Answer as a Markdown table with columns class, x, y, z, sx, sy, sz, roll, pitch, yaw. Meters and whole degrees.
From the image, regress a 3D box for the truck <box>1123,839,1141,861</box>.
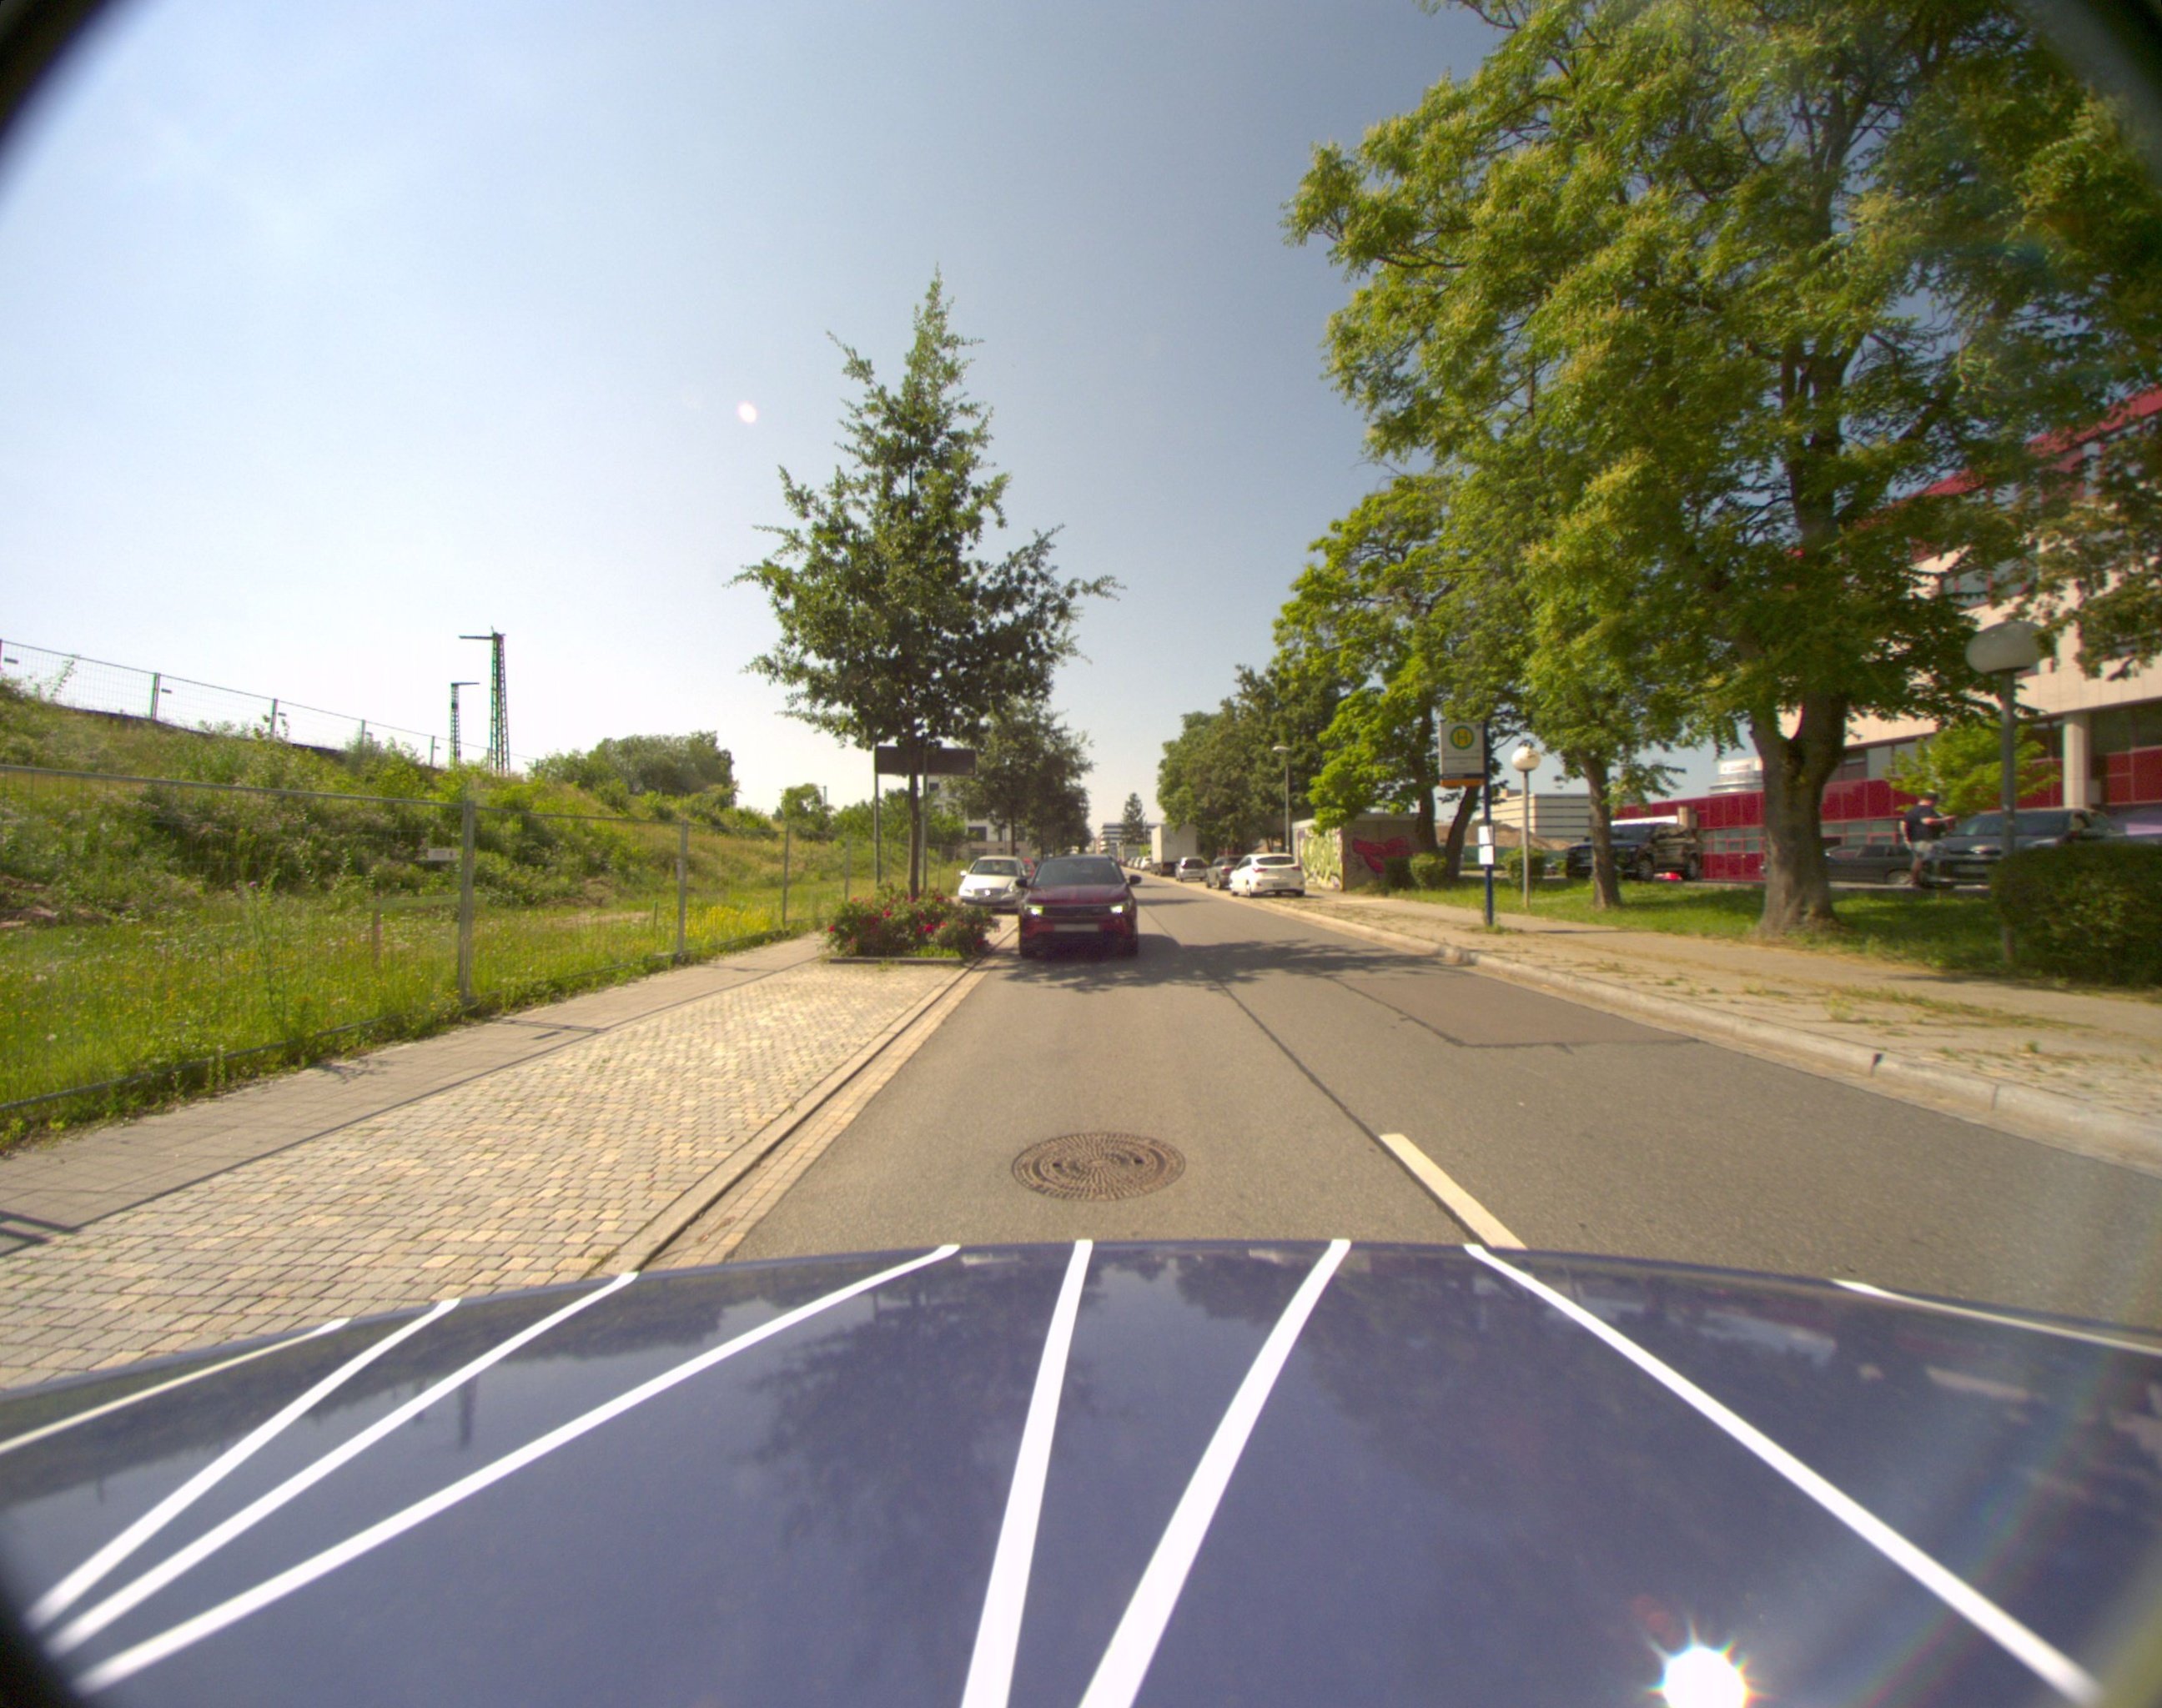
| class | x | y | z | sx | sy | sz | roll | pitch | yaw |
| --- | --- | --- | --- | --- | --- | --- | --- | --- | --- |
| truck | 8.176 | -0.577 | 121.515 | 2.701 | 3.300 | 7.344 | -1 | 0 | 4 |

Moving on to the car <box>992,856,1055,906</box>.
| class | x | y | z | sx | sy | sz | roll | pitch | yaw |
| --- | --- | --- | --- | --- | --- | --- | --- | --- | --- |
| car | -1.948 | 0.911 | 26.960 | 1.847 | 1.606 | 4.000 | 1 | 0 | 1 |

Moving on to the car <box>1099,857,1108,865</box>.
| class | x | y | z | sx | sy | sz | roll | pitch | yaw |
| --- | --- | --- | --- | --- | --- | --- | --- | --- | --- |
| car | 4.949 | 1.615 | 168.329 | 1.764 | 1.783 | 4.001 | -1 | 0 | 3 |

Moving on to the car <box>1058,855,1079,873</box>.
| class | x | y | z | sx | sy | sz | roll | pitch | yaw |
| --- | --- | --- | --- | --- | --- | --- | --- | --- | --- |
| car | -1.118 | 0.909 | 71.208 | 1.847 | 1.606 | 4.000 | 1 | 0 | 1 |

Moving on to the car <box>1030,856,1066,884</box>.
| class | x | y | z | sx | sy | sz | roll | pitch | yaw |
| --- | --- | --- | --- | --- | --- | --- | --- | --- | --- |
| car | -1.871 | 0.894 | 44.363 | 1.869 | 1.533 | 4.000 | -1 | 0 | 0 |

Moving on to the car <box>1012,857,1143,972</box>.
| class | x | y | z | sx | sy | sz | roll | pitch | yaw |
| --- | --- | --- | --- | --- | --- | --- | --- | --- | --- |
| car | -0.063 | 0.872 | 12.972 | 1.821 | 1.594 | 4.307 | -1 | 0 | 0 |

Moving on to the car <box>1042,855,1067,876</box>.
| class | x | y | z | sx | sy | sz | roll | pitch | yaw |
| --- | --- | --- | --- | --- | --- | --- | --- | --- | --- |
| car | -2.126 | 0.925 | 62.266 | 1.847 | 1.606 | 4.000 | 1 | 0 | 1 |

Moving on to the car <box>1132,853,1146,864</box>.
| class | x | y | z | sx | sy | sz | roll | pitch | yaw |
| --- | --- | --- | --- | --- | --- | --- | --- | --- | --- |
| car | 8.046 | 0.646 | 105.756 | 1.814 | 1.506 | 4.001 | -2 | 0 | 2 |

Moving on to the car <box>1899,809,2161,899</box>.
| class | x | y | z | sx | sy | sz | roll | pitch | yaw |
| --- | --- | --- | --- | --- | --- | --- | --- | --- | --- |
| car | 16.622 | -0.034 | 13.303 | 3.993 | 1.330 | 1.715 | -2 | 0 | -21 |

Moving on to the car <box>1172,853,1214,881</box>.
| class | x | y | z | sx | sy | sz | roll | pitch | yaw |
| --- | --- | --- | --- | --- | --- | --- | --- | --- | --- |
| car | 6.574 | 0.734 | 44.920 | 1.815 | 1.506 | 4.000 | -2 | 0 | 0 |

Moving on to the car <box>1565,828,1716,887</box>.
| class | x | y | z | sx | sy | sz | roll | pitch | yaw |
| --- | --- | --- | --- | --- | --- | --- | --- | --- | --- |
| car | 16.199 | 0.065 | 21.912 | 4.824 | 1.484 | 1.848 | -2 | 0 | -32 |

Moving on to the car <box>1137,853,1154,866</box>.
| class | x | y | z | sx | sy | sz | roll | pitch | yaw |
| --- | --- | --- | --- | --- | --- | --- | --- | --- | --- |
| car | 7.953 | 0.681 | 93.353 | 1.814 | 1.506 | 4.001 | -2 | 0 | 2 |

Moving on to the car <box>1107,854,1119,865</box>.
| class | x | y | z | sx | sy | sz | roll | pitch | yaw |
| --- | --- | --- | --- | --- | --- | --- | --- | --- | --- |
| car | 4.946 | 0.863 | 118.545 | 1.790 | 1.783 | 4.001 | -1 | 0 | 2 |

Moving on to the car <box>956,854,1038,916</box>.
| class | x | y | z | sx | sy | sz | roll | pitch | yaw |
| --- | --- | --- | --- | --- | --- | --- | --- | --- | --- |
| car | -2.391 | 0.861 | 22.609 | 1.847 | 1.606 | 4.370 | 2 | 0 | 1 |

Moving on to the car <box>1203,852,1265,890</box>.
| class | x | y | z | sx | sy | sz | roll | pitch | yaw |
| --- | --- | --- | --- | --- | --- | --- | --- | --- | --- |
| car | 6.601 | 0.704 | 33.154 | 1.815 | 1.506 | 4.000 | -2 | 0 | 0 |

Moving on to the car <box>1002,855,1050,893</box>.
| class | x | y | z | sx | sy | sz | roll | pitch | yaw |
| --- | --- | --- | --- | --- | --- | --- | --- | --- | --- |
| car | -2.430 | 0.870 | 34.442 | 1.847 | 1.606 | 4.000 | 1 | 0 | 1 |

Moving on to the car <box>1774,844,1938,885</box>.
| class | x | y | z | sx | sy | sz | roll | pitch | yaw |
| --- | --- | --- | --- | --- | --- | --- | --- | --- | --- |
| car | 28.934 | 0.397 | 28.569 | 4.228 | 1.443 | 1.726 | -1 | 0 | 43 |

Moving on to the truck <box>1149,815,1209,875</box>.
| class | x | y | z | sx | sy | sz | roll | pitch | yaw |
| --- | --- | --- | --- | --- | --- | --- | --- | --- | --- |
| truck | 7.277 | -0.601 | 57.756 | 3.353 | 4.119 | 9.278 | -2 | 0 | 1 |

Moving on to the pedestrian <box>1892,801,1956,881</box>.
| class | x | y | z | sx | sy | sz | roll | pitch | yaw |
| --- | --- | --- | --- | --- | --- | --- | --- | --- | --- |
| pedestrian | 16.595 | -0.249 | 14.979 | 0.563 | 1.518 | 0.758 | -1 | 0 | 22 |

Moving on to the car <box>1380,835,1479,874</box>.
| class | x | y | z | sx | sy | sz | roll | pitch | yaw |
| --- | --- | --- | --- | --- | --- | --- | --- | --- | --- |
| car | 17.127 | 0.011 | 37.313 | 4.724 | 1.793 | 1.996 | -1 | -1 | -30 |

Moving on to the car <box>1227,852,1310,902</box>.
| class | x | y | z | sx | sy | sz | roll | pitch | yaw |
| --- | --- | --- | --- | --- | --- | --- | --- | --- | --- |
| car | 6.260 | 0.719 | 25.816 | 1.766 | 1.484 | 4.000 | -2 | 0 | 0 |

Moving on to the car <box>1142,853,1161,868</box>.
| class | x | y | z | sx | sy | sz | roll | pitch | yaw |
| --- | --- | --- | --- | --- | --- | --- | --- | --- | --- |
| car | 7.637 | 0.659 | 82.306 | 1.814 | 1.506 | 4.001 | -2 | 0 | 2 |
